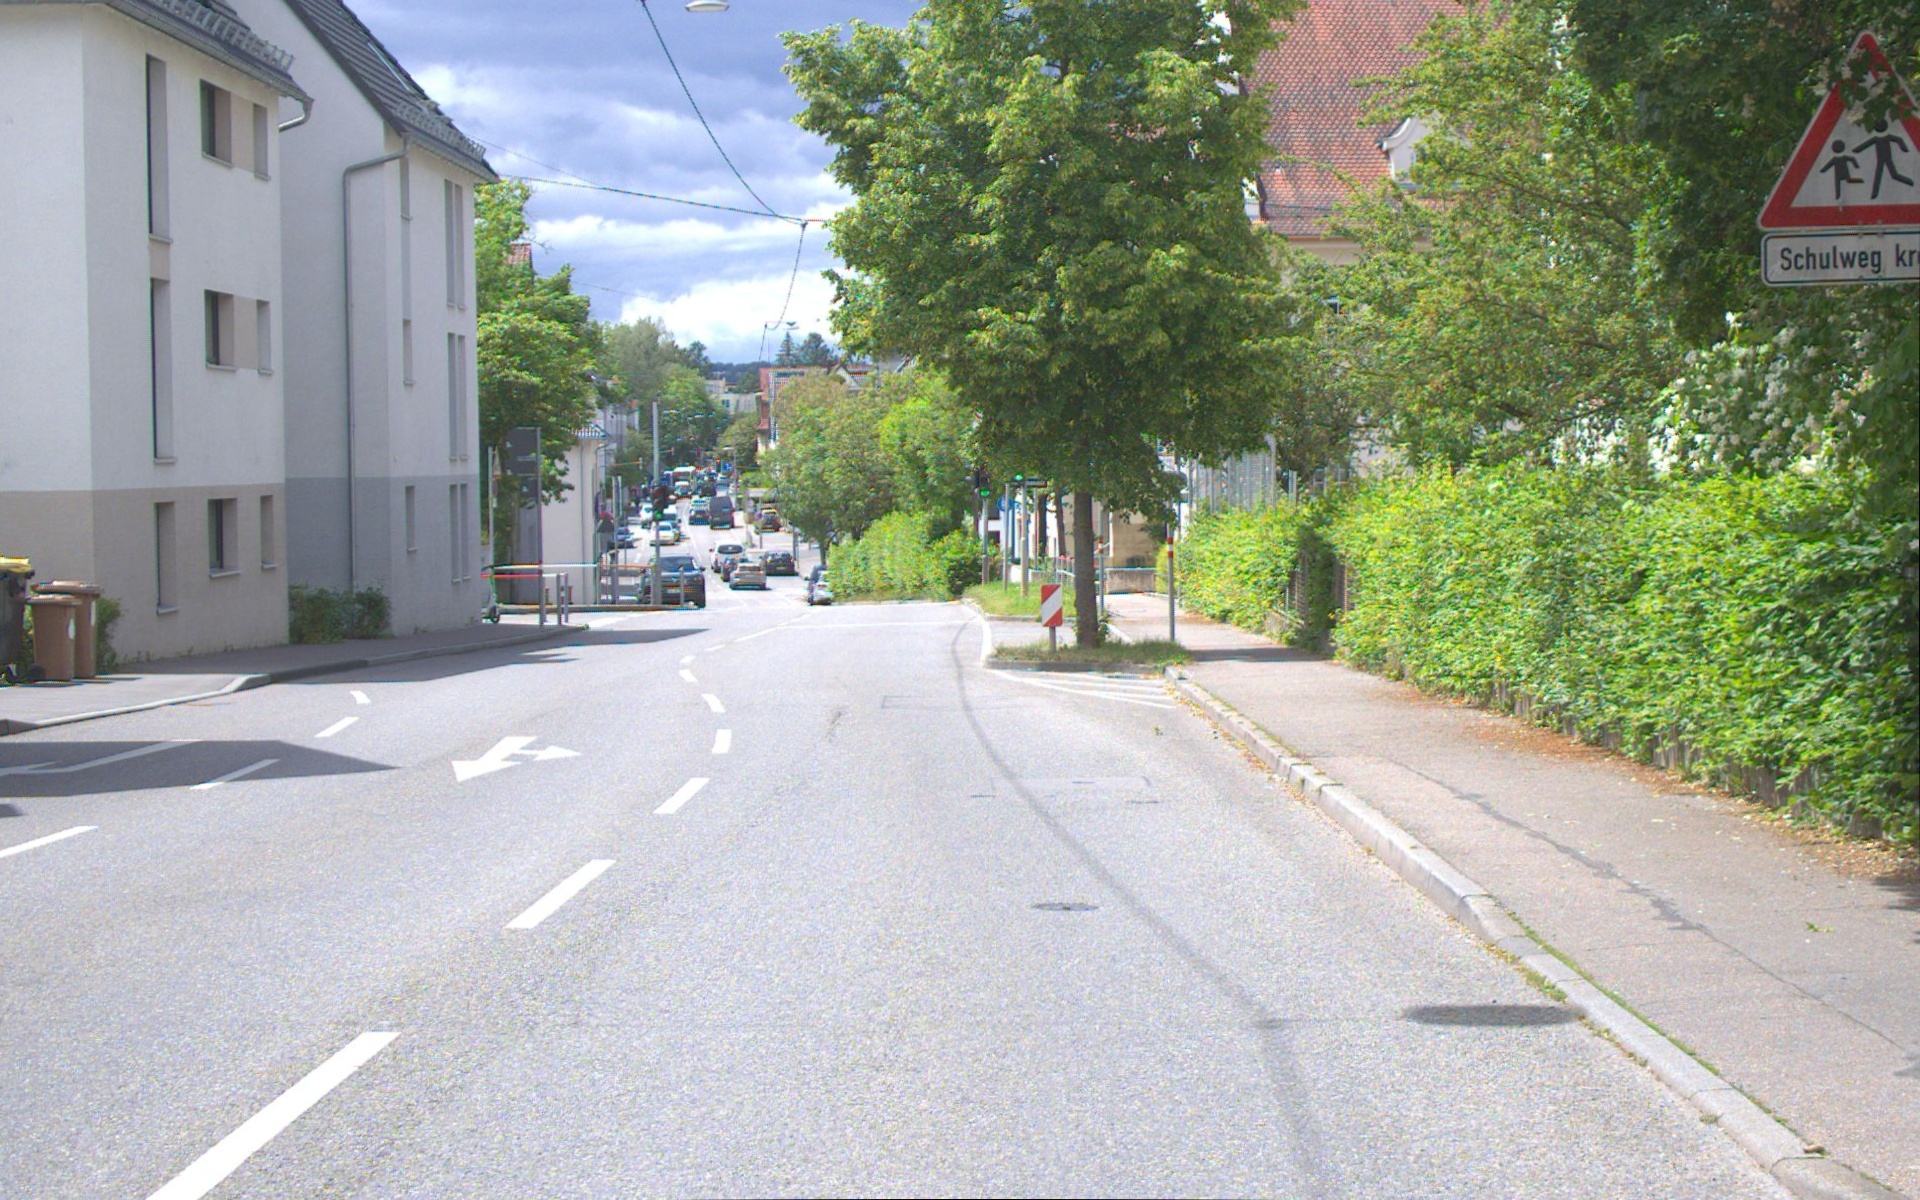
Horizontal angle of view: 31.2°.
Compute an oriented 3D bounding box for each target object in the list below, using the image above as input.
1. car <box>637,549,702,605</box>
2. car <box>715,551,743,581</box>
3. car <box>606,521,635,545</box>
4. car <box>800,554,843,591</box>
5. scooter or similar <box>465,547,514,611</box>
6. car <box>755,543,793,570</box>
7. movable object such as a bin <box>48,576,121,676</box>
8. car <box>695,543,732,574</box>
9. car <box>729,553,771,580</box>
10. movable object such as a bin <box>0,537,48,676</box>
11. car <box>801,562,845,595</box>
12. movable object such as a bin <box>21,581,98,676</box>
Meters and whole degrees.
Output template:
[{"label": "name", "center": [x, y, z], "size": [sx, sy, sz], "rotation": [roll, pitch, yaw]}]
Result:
[{"label": "car", "center": [-8.624, -0.693, 102.253], "size": [1.795, 1.605, 4.646], "rotation": [-1, 1, -3]}, {"label": "car", "center": [-13.325, -1.959, 198.555], "size": [1.273, 1.522, 3.052], "rotation": [-1, 4, -10]}, {"label": "car", "center": [-24.131, -4.781, 244.632], "size": [1.873, 1.634, 4.000], "rotation": [1, 1, -3]}, {"label": "car", "center": [-6.673, -1.322, 165.094], "size": [1.844, 1.761, 4.516], "rotation": [0, 0, -5]}, {"label": "scooter or similar", "center": [-9.288, -0.411, 67.842], "size": [0.489, 1.257, 1.307], "rotation": [-2, 1, -30]}, {"label": "car", "center": [-11.108, -2.603, 205.449], "size": [1.752, 1.366, 4.002], "rotation": [-1, 4, -11]}, {"label": "movable object such as a bin", "center": [-9.592, 0.282, 37.689], "size": [0.640, 1.071, 0.660], "rotation": [-1, 1, -3]}, {"label": "car", "center": [-14.963, -2.539, 208.667], "size": [1.836, 1.855, 3.851], "rotation": [0, 1, -10]}, {"label": "car", "center": [-11.600, -1.855, 189.739], "size": [1.743, 1.412, 4.001], "rotation": [-1, 1, -12]}, {"label": "movable object such as a bin", "center": [-10.416, 0.060, 36.224], "size": [1.334, 1.441, 1.171], "rotation": [-1, 1, -4]}, {"label": "car", "center": [-6.351, -1.007, 158.983], "size": [1.786, 1.504, 4.365], "rotation": [0, 0, -5]}, {"label": "movable object such as a bin", "center": [-9.678, 0.301, 36.969], "size": [0.640, 0.997, 0.657], "rotation": [-1, 1, 0]}]
